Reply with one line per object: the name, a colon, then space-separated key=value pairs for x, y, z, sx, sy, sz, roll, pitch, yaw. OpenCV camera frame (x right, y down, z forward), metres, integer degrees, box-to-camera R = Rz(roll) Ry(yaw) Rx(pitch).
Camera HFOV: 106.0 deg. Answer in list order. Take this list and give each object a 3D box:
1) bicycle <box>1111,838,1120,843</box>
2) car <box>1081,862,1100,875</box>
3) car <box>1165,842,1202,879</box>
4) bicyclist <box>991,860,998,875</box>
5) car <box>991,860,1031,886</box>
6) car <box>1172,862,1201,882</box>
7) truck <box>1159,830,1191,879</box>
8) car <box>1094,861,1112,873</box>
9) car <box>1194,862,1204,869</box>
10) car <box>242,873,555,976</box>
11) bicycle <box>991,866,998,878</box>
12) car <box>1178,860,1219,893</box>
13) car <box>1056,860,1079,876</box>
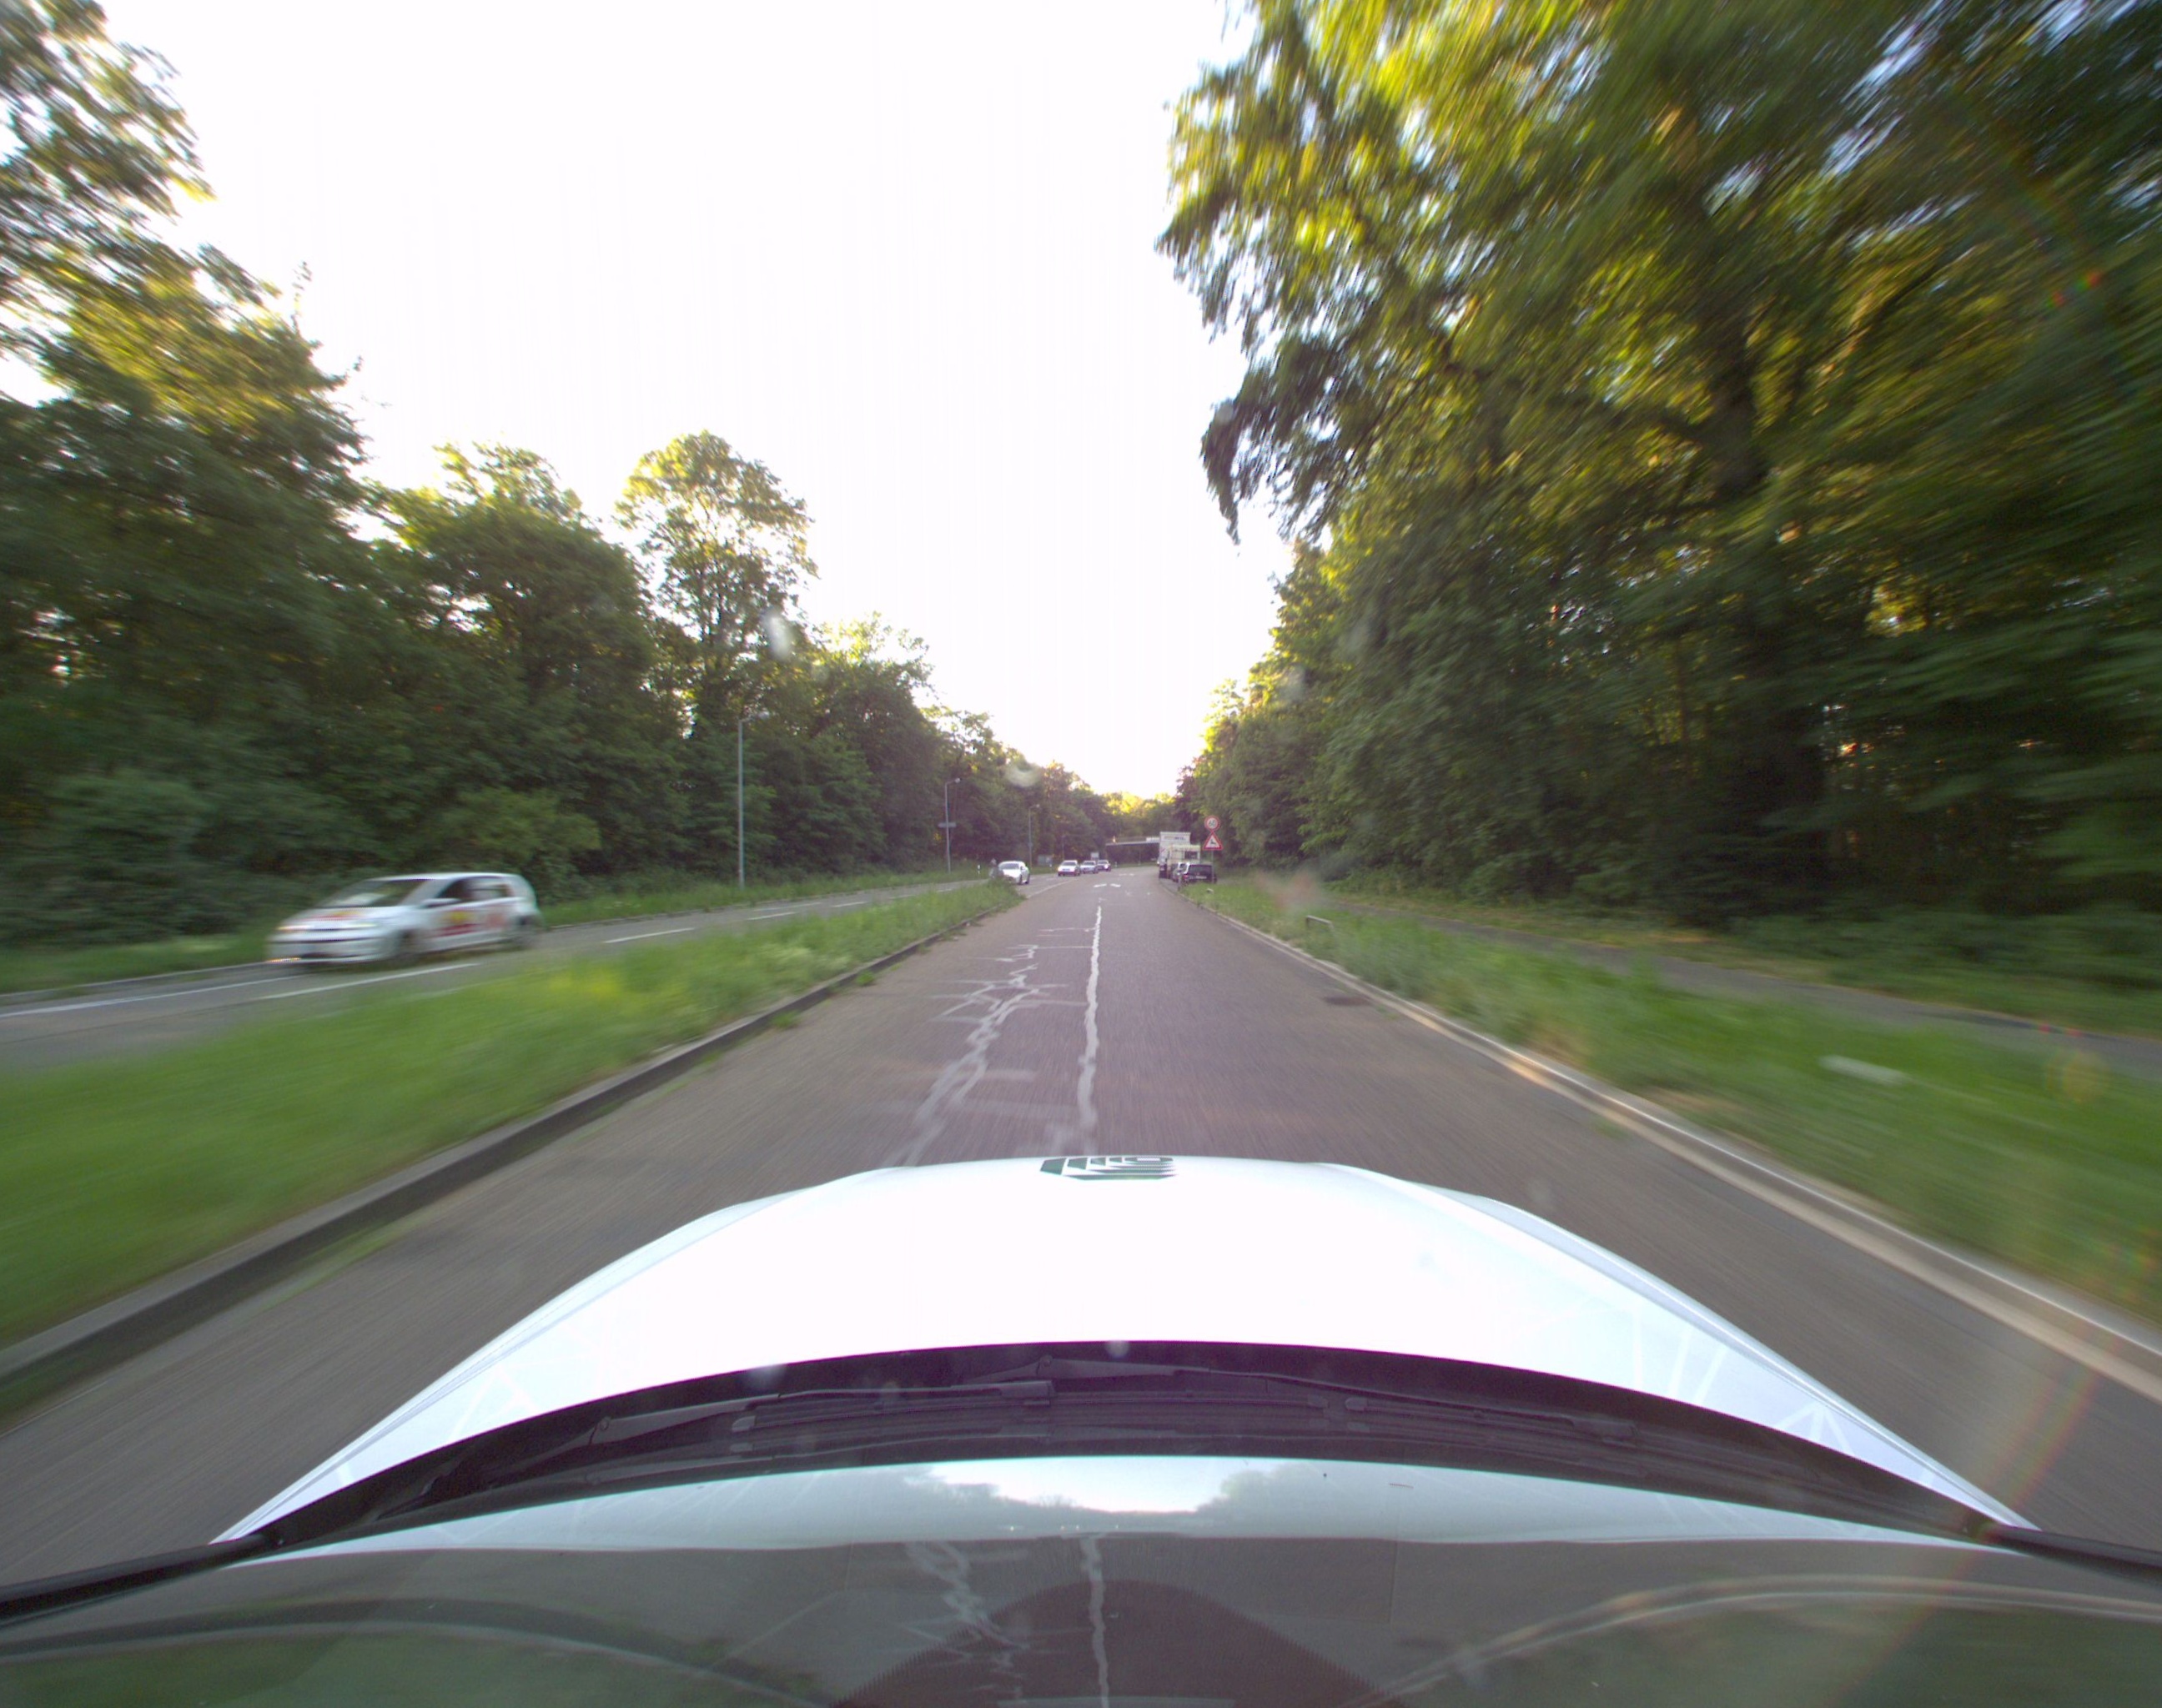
bicycle: x=7.652 y=-3.001 z=180.807 sx=1.832 sy=0.949 sz=0.552 roll=0 pitch=-1 yaw=13
car: x=1.066 y=1.574 z=89.307 sx=1.711 sy=1.397 sz=4.382 roll=-1 pitch=0 yaw=6
car: x=8.137 y=0.538 z=65.263 sx=2.399 sy=2.858 sz=5.934 roll=0 pitch=-1 yaw=2
bicyclist: x=-9.051 y=1.388 z=85.137 sx=0.619 sy=1.511 sz=0.845 roll=-2 pitch=0 yaw=-8
car: x=-4.319 y=1.225 z=50.863 sx=1.827 sy=1.507 sz=3.942 roll=-2 pitch=-2 yaw=5
car: x=7.520 y=1.274 z=58.469 sx=1.691 sy=1.406 sz=4.078 roll=-1 pitch=-1 yaw=2
truck: x=8.374 y=0.078 z=73.271 sx=2.644 sy=4.027 sz=9.737 roll=-1 pitch=0 yaw=6
car: x=2.928 y=1.698 z=106.393 sx=1.881 sy=1.440 sz=4.779 roll=0 pitch=0 yaw=7
car: x=24.291 y=2.326 z=167.880 sx=1.881 sy=1.447 sz=4.119 roll=-1 pitch=-1 yaw=8
car: x=-11.223 y=1.104 z=13.829 sx=1.985 sy=1.458 sz=3.812 roll=-2 pitch=-2 yaw=3
bicycle: x=-9.048 y=1.852 z=85.209 sx=0.629 sy=1.217 sz=2.256 roll=-2 pitch=0 yaw=-7
car: x=5.514 y=1.036 z=38.658 sx=1.656 sy=1.405 sz=3.946 roll=1 pitch=-1 yaw=4
car: x=-1.261 y=1.316 z=77.314 sx=1.707 sy=1.446 sz=4.180 roll=-1 pitch=0 yaw=6
